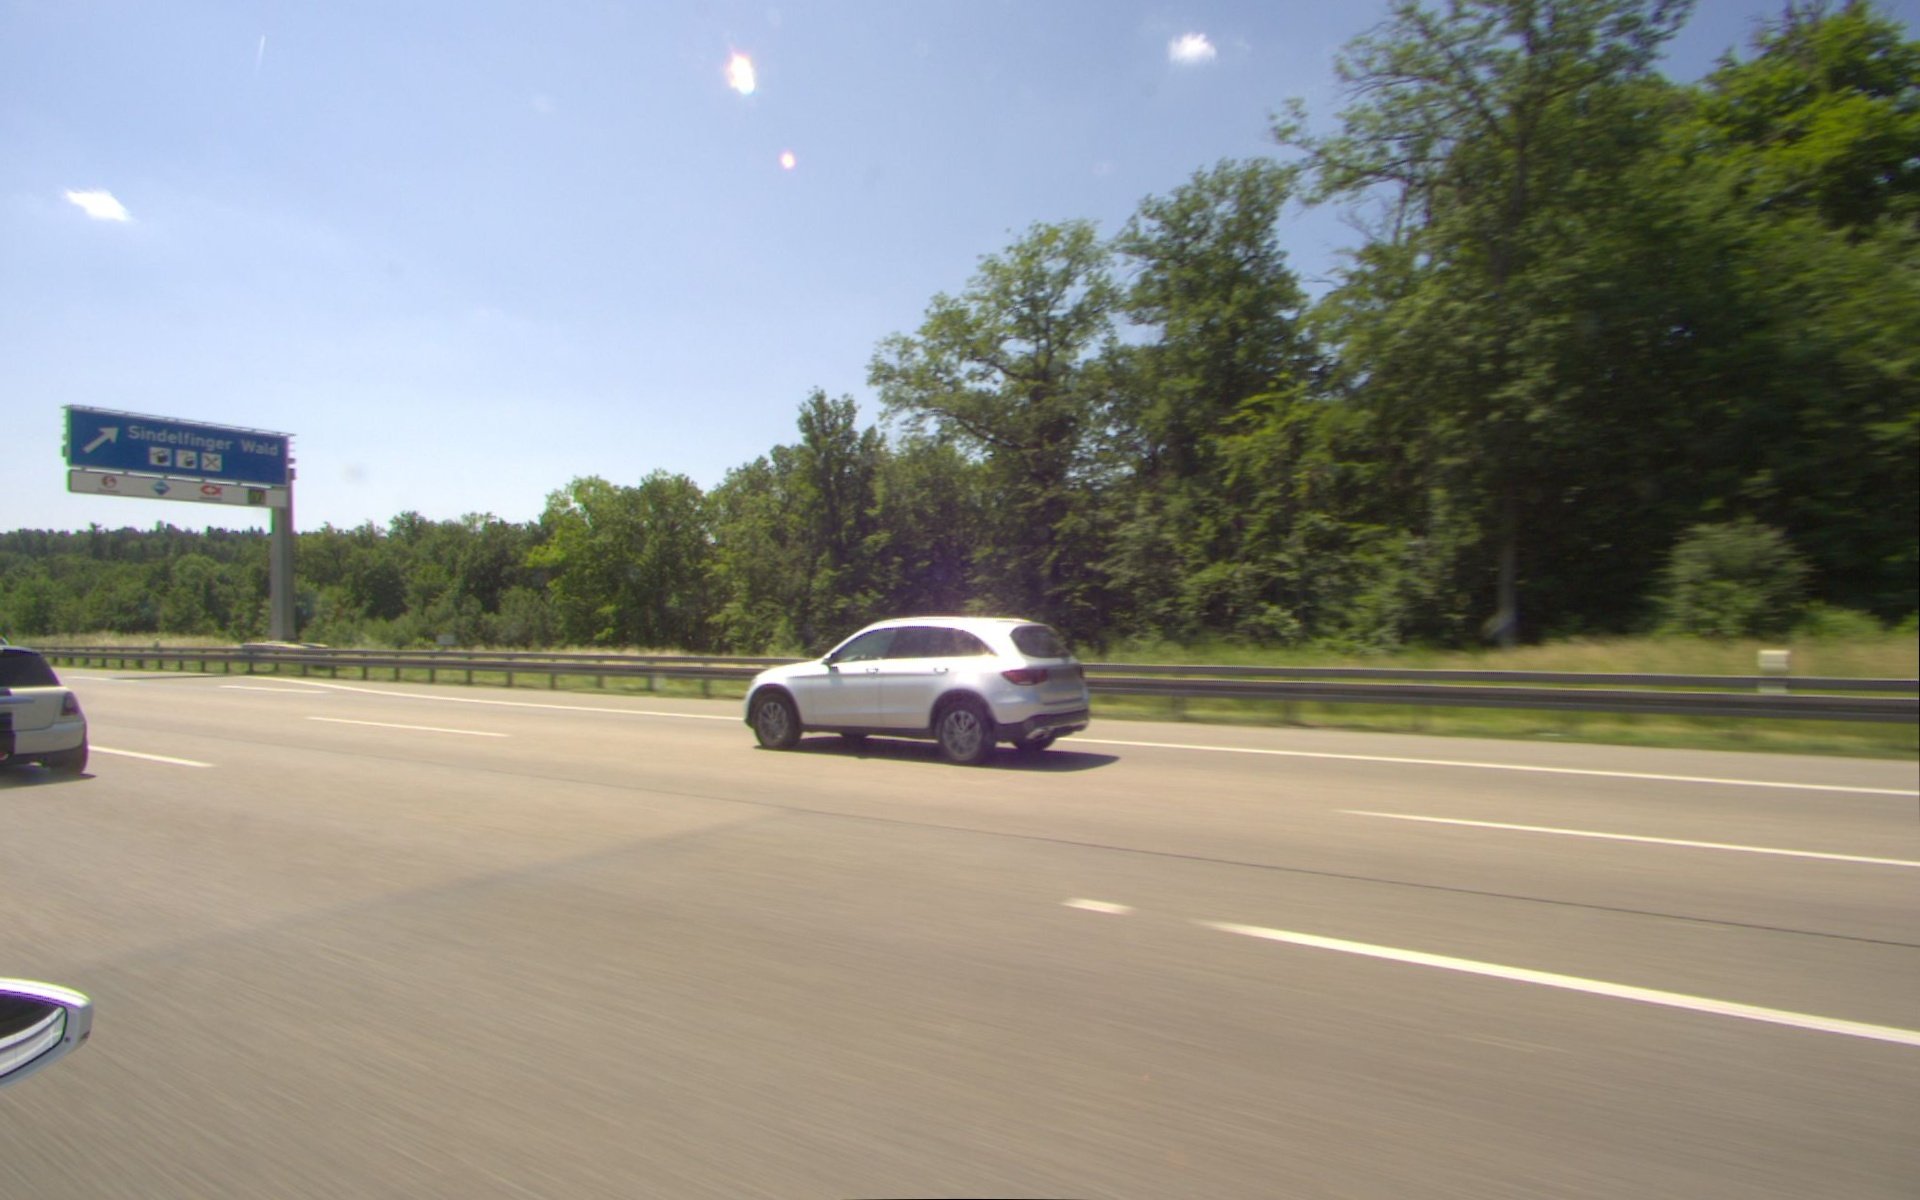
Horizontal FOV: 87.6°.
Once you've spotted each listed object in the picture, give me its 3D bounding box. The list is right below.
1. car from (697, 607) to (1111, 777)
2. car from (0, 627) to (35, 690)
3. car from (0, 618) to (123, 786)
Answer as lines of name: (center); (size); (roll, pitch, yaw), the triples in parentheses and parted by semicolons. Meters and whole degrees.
car: (-0.840, 1.014, 12.720); (5.163, 1.753, 1.798); (0, -1, 32)
car: (-24.032, 1.381, 23.989); (4.312, 1.452, 1.663); (-1, -1, 32)
car: (-10.855, 0.993, 10.706); (3.943, 1.572, 1.838); (0, -1, 33)
